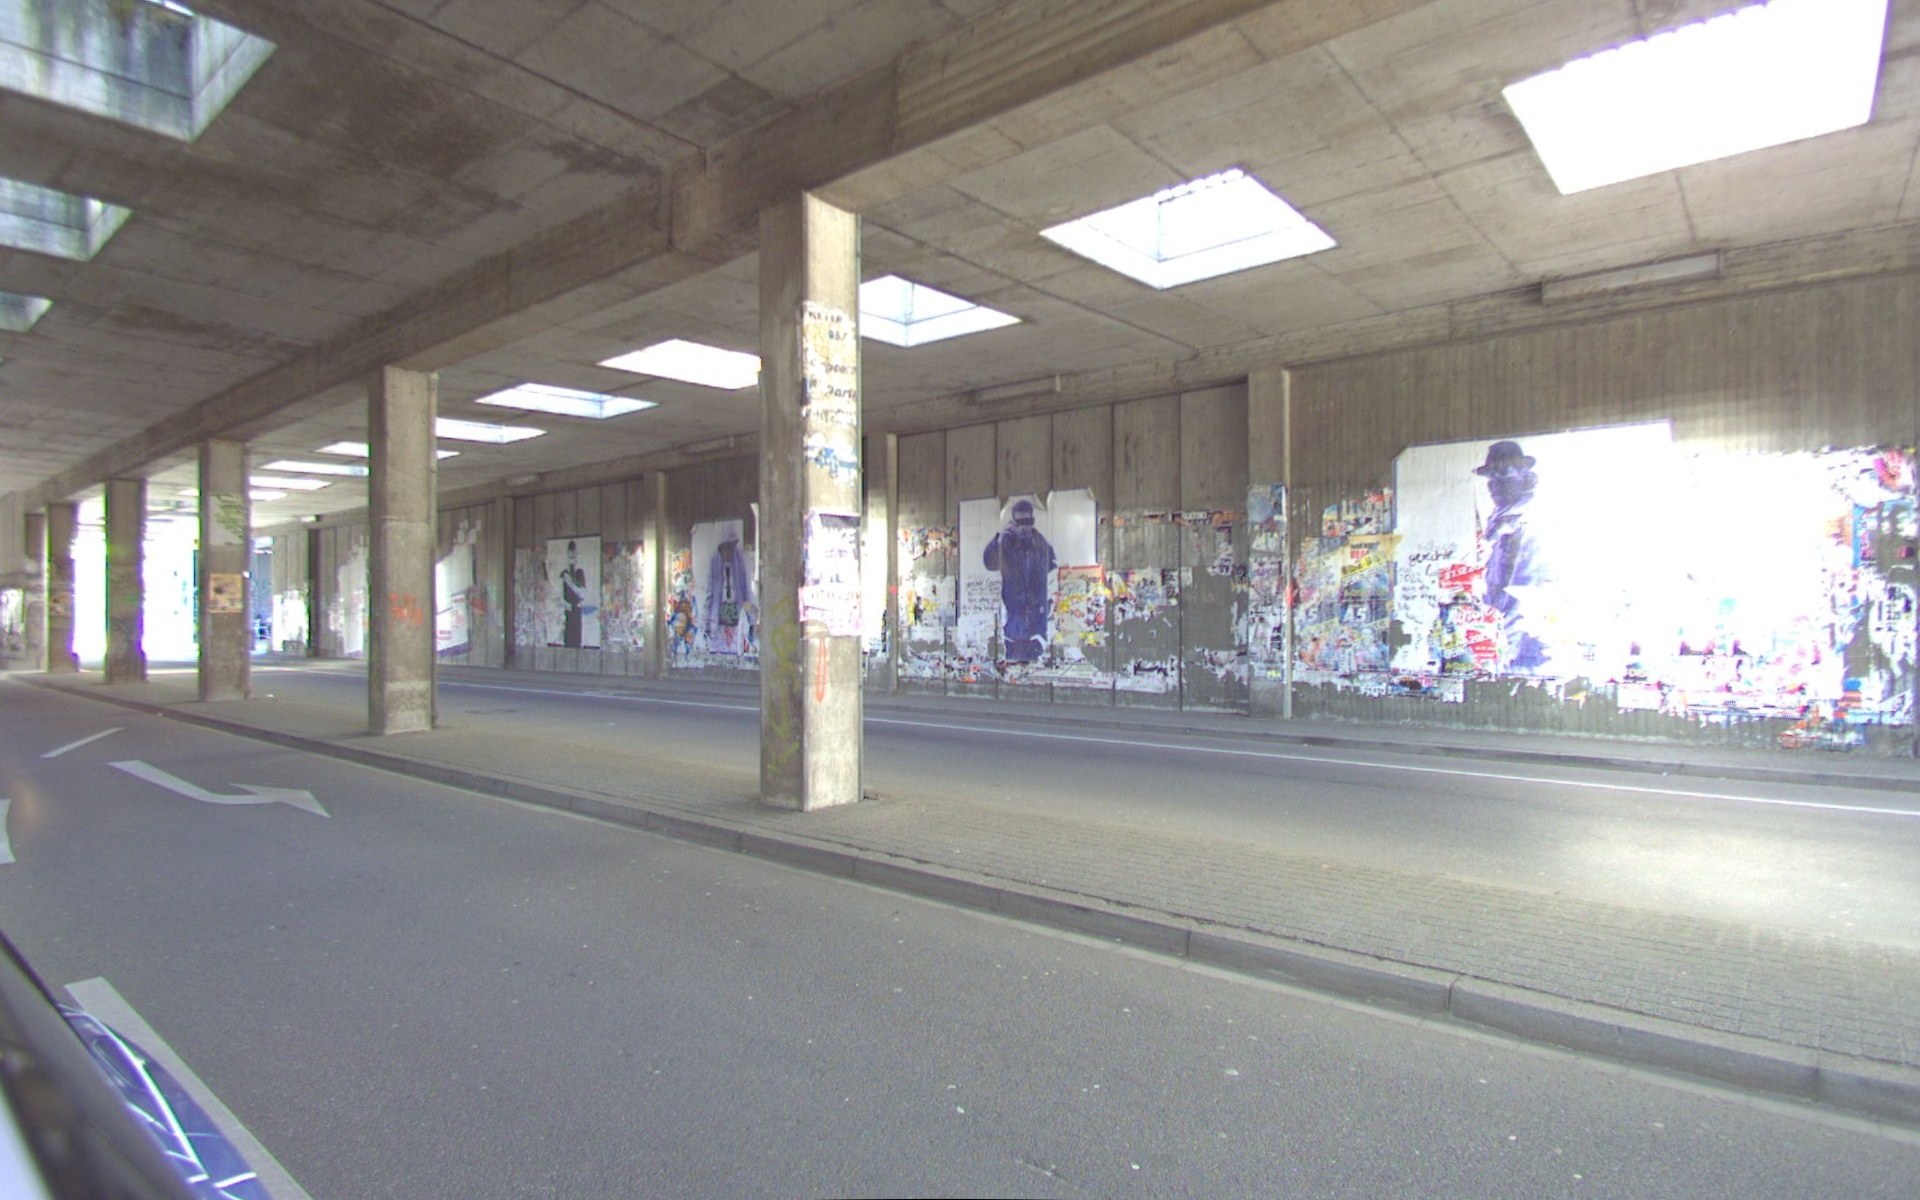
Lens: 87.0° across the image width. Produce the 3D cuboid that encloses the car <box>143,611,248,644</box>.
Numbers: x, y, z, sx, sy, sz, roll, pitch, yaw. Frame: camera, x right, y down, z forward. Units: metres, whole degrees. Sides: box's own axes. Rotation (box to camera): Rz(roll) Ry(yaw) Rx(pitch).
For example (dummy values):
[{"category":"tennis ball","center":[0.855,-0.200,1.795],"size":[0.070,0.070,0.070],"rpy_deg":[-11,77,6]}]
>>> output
[{"category":"car","center":[-50.067,1.791,66.377],"size":[2.358,2.029,5.083],"rpy_deg":[-1,-2,39]}]
